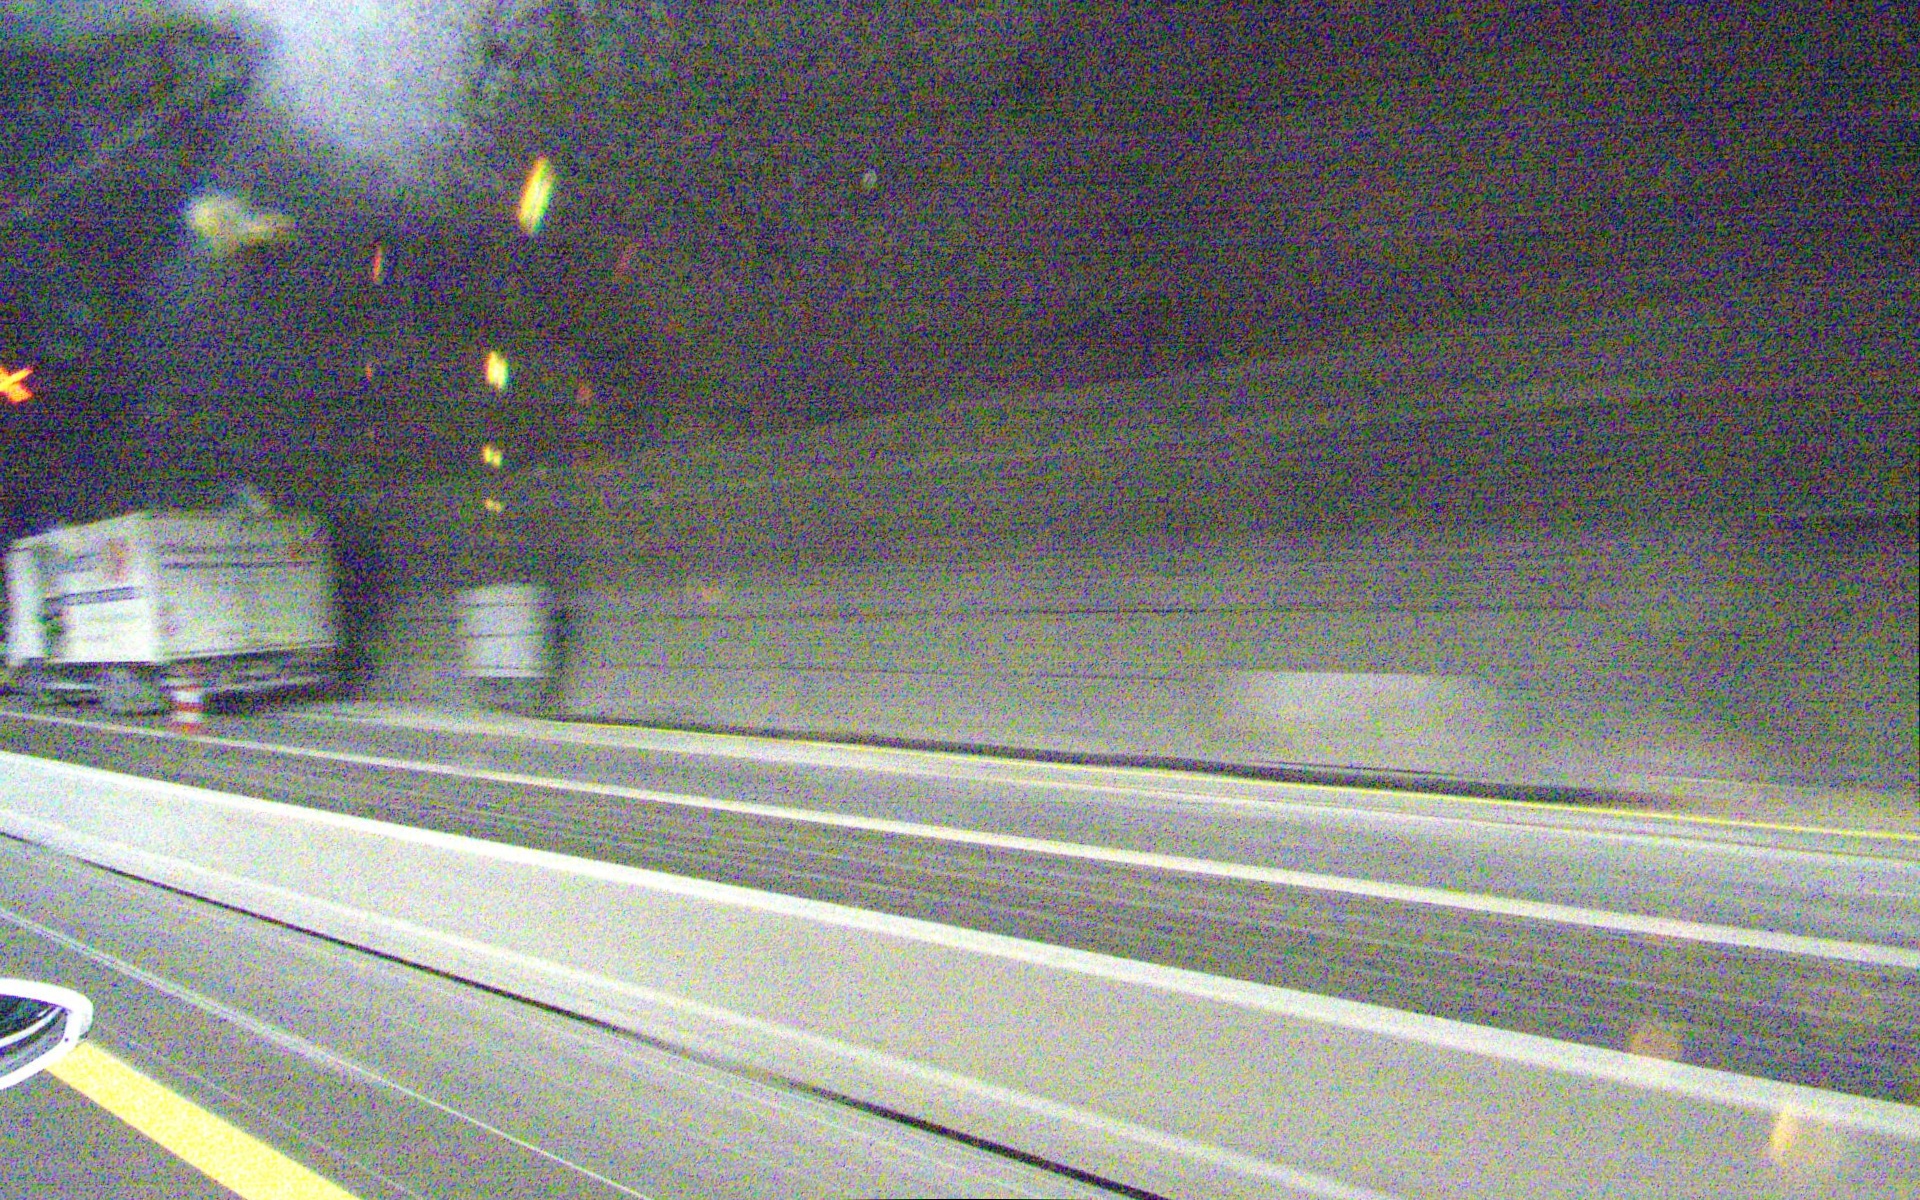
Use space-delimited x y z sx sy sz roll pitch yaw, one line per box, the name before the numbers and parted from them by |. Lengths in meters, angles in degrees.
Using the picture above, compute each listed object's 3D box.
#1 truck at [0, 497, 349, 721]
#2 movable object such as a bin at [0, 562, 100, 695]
truck | -14.792 0.237 18.287 8.282 3.314 2.887 -1 -1 33
movable object such as a bin | -23.092 0.680 23.678 7.130 2.830 2.234 -1 -1 33
